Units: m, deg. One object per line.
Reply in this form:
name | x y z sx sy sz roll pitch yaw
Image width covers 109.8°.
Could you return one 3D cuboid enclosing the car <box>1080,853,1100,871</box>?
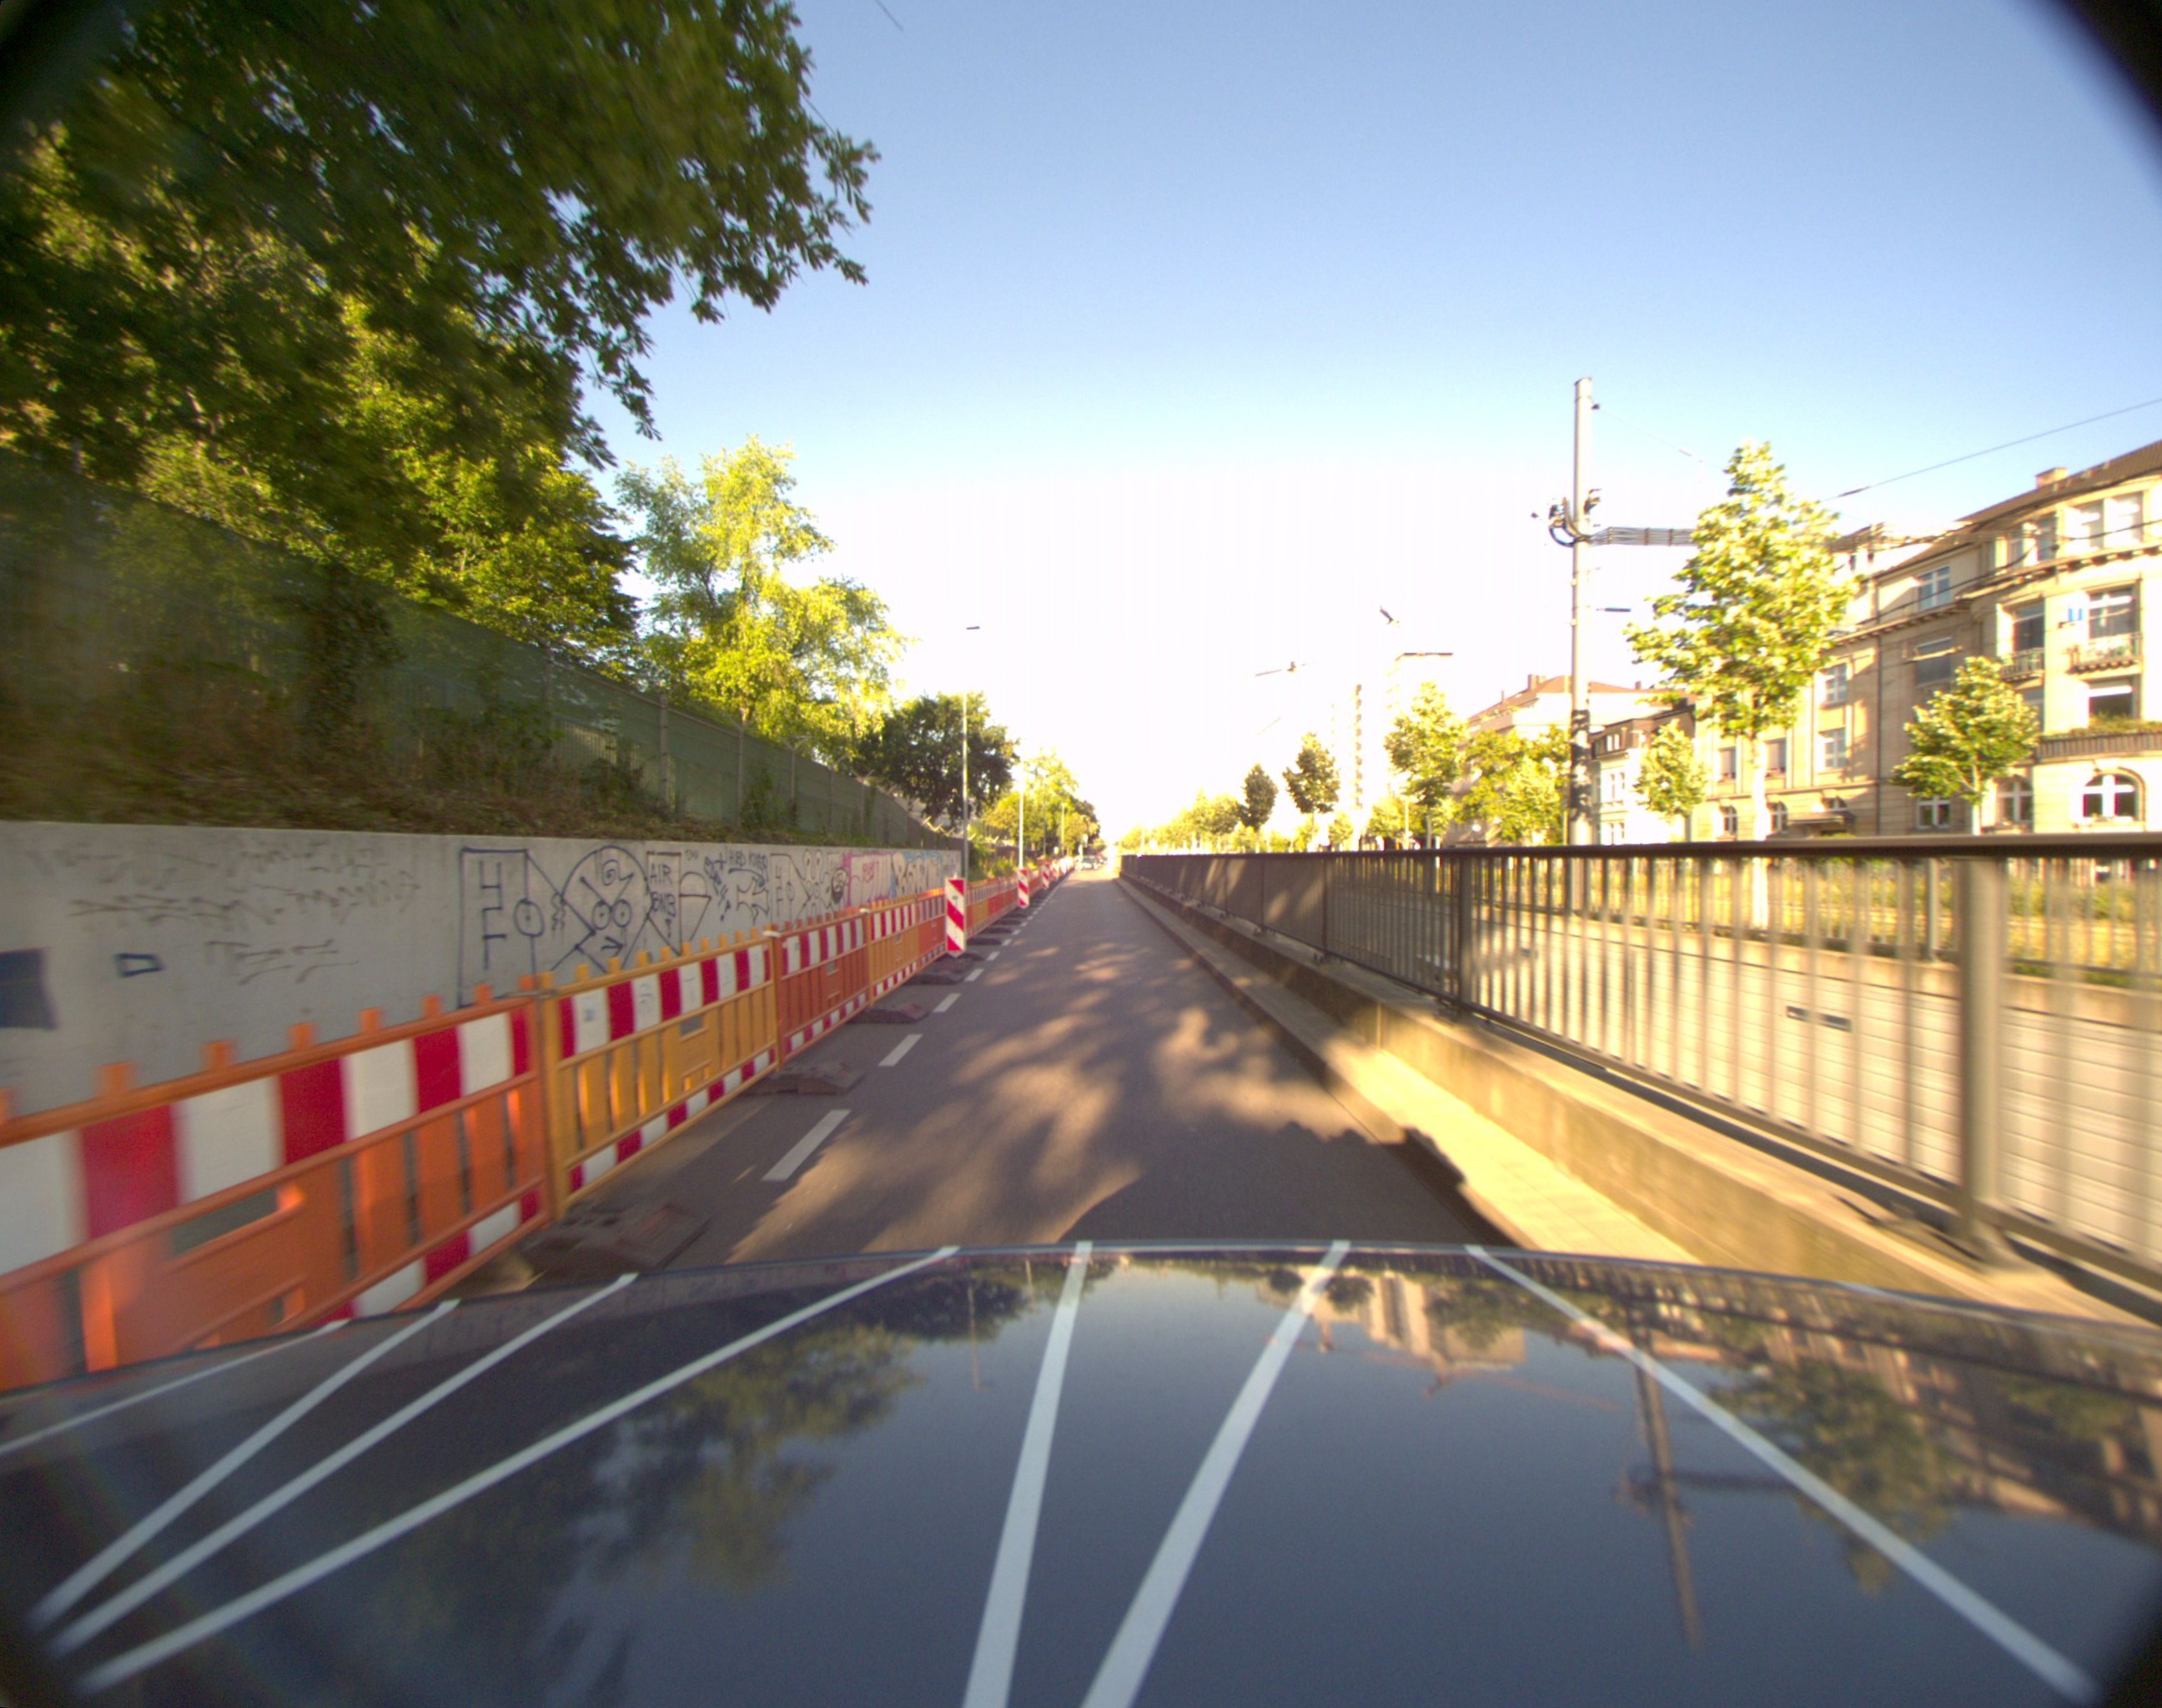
car | 0.981 0.785 79.410 2.080 1.827 4.000 0 0 1
